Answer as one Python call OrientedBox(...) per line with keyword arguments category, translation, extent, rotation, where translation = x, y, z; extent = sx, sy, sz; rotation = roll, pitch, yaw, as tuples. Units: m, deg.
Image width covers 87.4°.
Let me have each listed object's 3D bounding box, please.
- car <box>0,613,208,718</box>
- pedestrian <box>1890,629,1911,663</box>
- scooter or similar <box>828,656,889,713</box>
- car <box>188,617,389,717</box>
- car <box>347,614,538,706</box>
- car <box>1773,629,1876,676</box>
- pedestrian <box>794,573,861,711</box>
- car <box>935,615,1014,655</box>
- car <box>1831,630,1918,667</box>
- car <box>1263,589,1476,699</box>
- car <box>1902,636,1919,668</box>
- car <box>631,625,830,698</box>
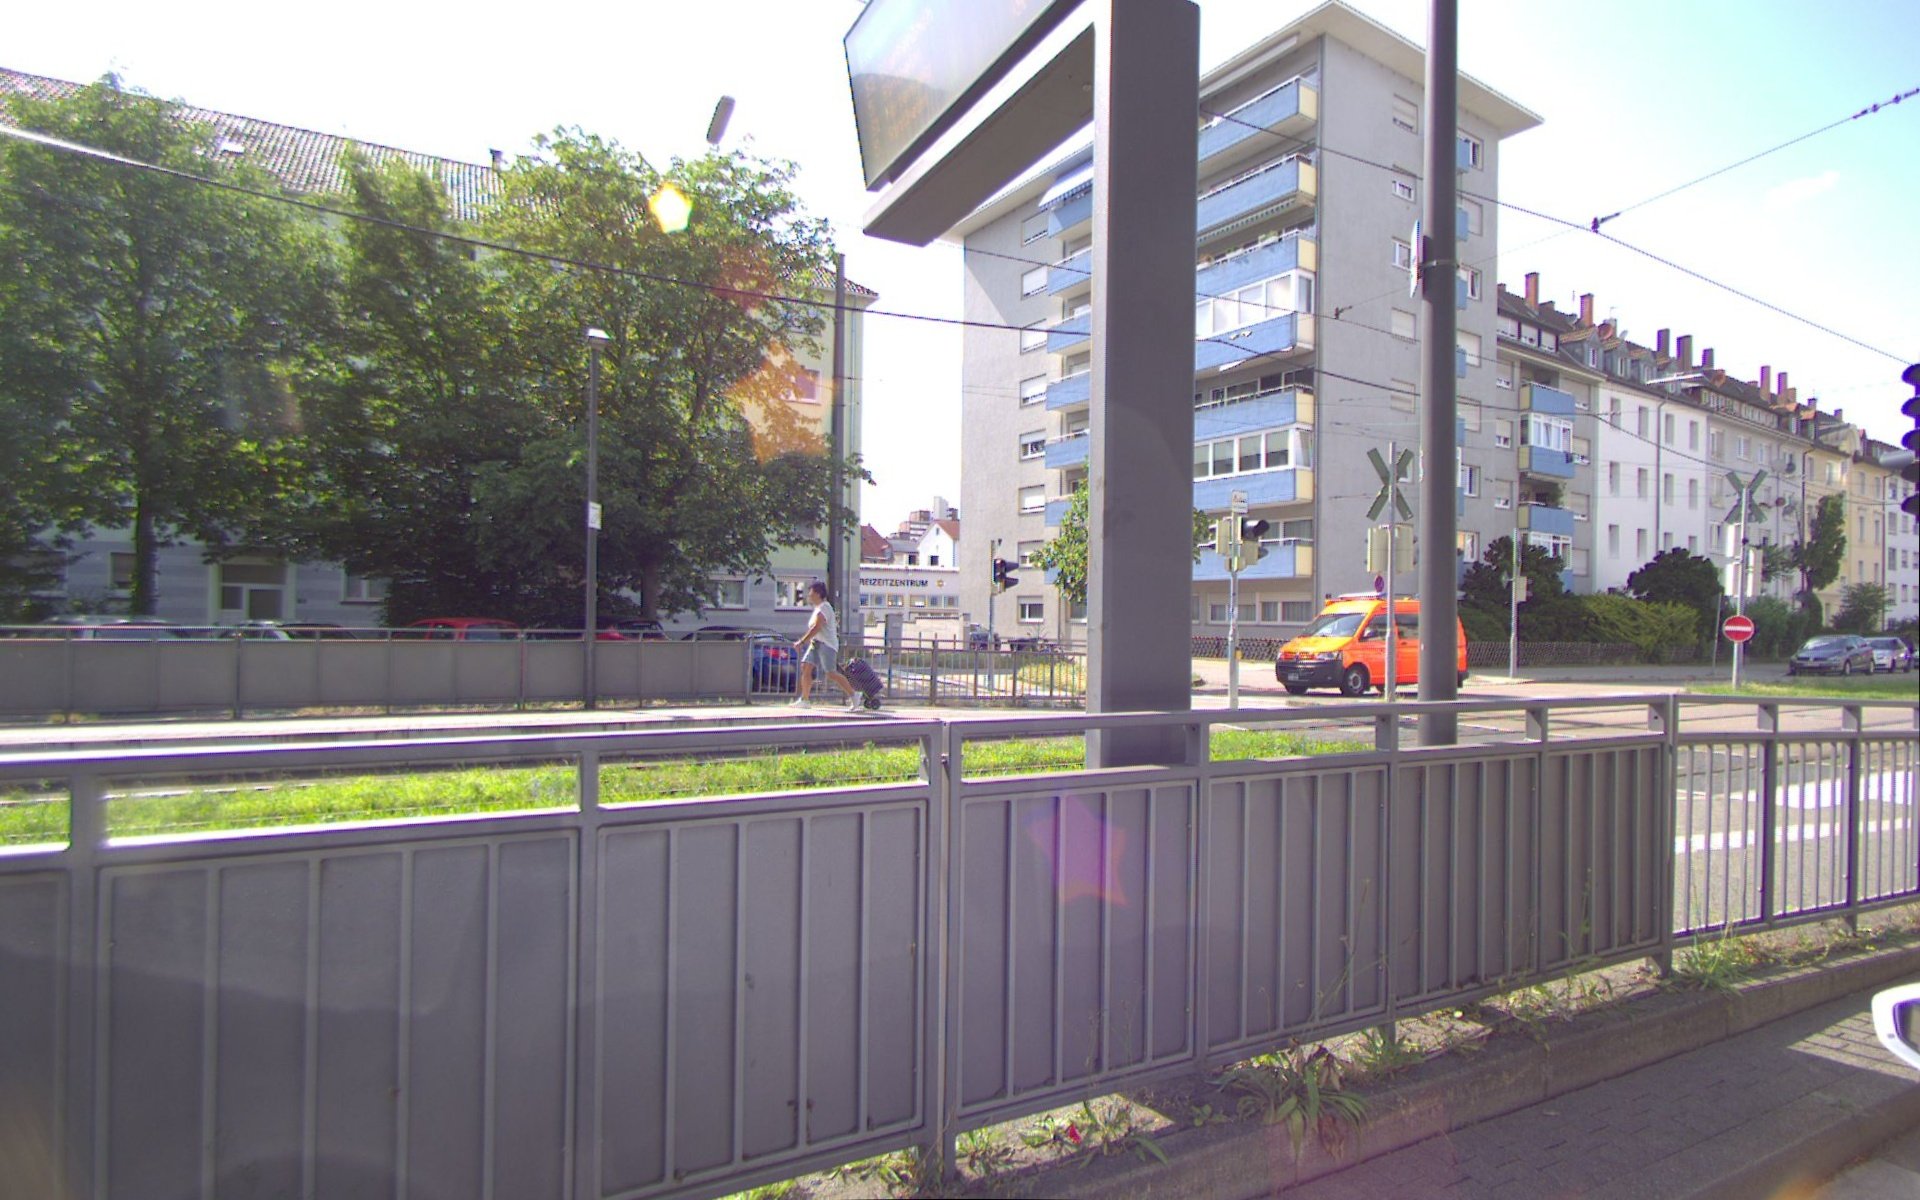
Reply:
OrientedBox(category="car", translation=(-14.207, 1.000, 16.557), extent=(3.959, 1.534, 1.605), rotation=(0, -1, 33))
OrientedBox(category="pedestrian", translation=(50.994, 2.500, 54.445), extent=(0.857, 1.817, 0.700), rotation=(1, -1, -36))
OrientedBox(category="scooter or similar", translation=(-1.338, 1.107, 13.233), extent=(0.692, 0.708, 0.440), rotation=(1, -1, -29))
OrientedBox(category="car", translation=(-12.061, 1.121, 18.001), extent=(3.603, 1.600, 1.645), rotation=(0, -1, 32))
OrientedBox(category="car", translation=(-9.985, 1.087, 19.324), extent=(3.603, 1.600, 1.645), rotation=(0, -1, 32))
OrientedBox(category="car", translation=(34.272, 2.061, 39.789), extent=(3.956, 1.667, 1.982), rotation=(2, 0, -32))
OrientedBox(category="pedestrian", translation=(-1.685, 0.526, 12.729), extent=(0.624, 1.686, 0.657), rotation=(1, -1, -29))
OrientedBox(category="car", translation=(0.645, 1.631, 47.547), extent=(1.976, 1.706, 3.968), rotation=(2, 0, -30))
OrientedBox(category="car", translation=(39.236, 2.070, 43.091), extent=(3.956, 1.461, 1.758), rotation=(2, 0, -32))
OrientedBox(category="car", translation=(9.420, 1.006, 23.063), extent=(4.774, 2.305, 1.985), rotation=(1, -2, -29))
OrientedBox(category="car", translation=(47.408, 2.544, 48.642), extent=(3.959, 1.461, 1.757), rotation=(2, 0, -34))
OrientedBox(category="car", translation=(-4.988, 1.275, 21.810), extent=(4.055, 1.413, 1.608), rotation=(0, -1, 24))
